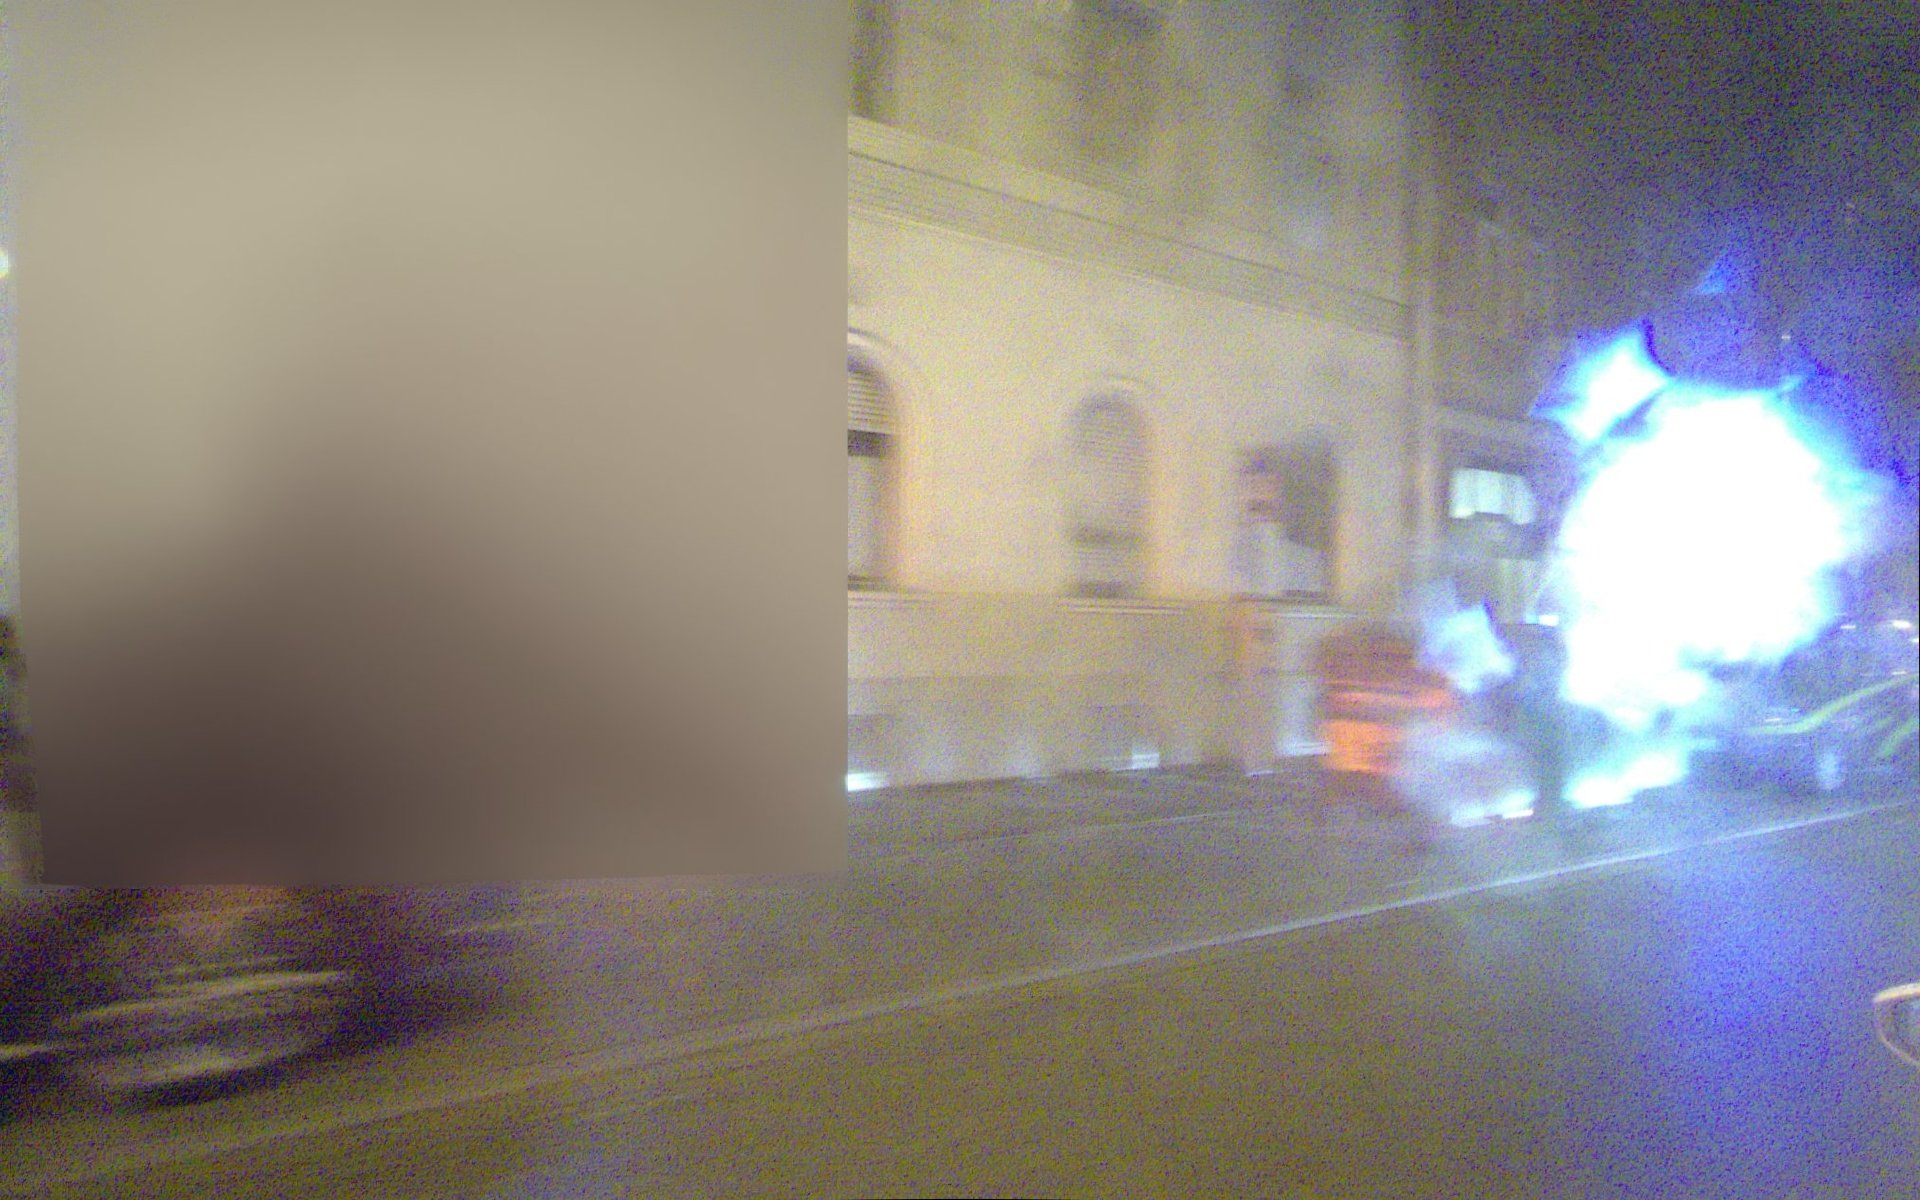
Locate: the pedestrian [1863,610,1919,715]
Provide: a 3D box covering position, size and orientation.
[{"bbox_3d":[16.491,1.094,17.755,0.543,1.804,0.636,1,-2,-30],"label":"pedestrian"}]

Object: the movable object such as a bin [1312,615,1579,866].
[{"bbox_3d":[3.263,0.866,6.829,1.093,1.479,1.203,2,0,-28],"label":"movable object such as a bin"}]

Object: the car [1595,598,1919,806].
[{"bbox_3d":[8.127,0.899,9.991,3.679,1.728,1.595,2,-1,-31],"label":"car"}]

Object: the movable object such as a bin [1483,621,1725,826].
[{"bbox_3d":[5.230,0.935,8.208,1.136,1.479,1.257,2,0,-28],"label":"movable object such as a bin"}]

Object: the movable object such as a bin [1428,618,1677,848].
[{"bbox_3d":[4.314,0.897,7.369,1.093,1.479,1.160,2,0,-28],"label":"movable object such as a bin"}]

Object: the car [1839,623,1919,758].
[{"bbox_3d":[13.006,1.103,12.803,3.979,1.573,1.595,1,0,-31],"label":"car"}]

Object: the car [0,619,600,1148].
[{"bbox_3d":[-3.431,0.744,3.042,4.173,1.377,1.646,2,-2,-31],"label":"car"}]
